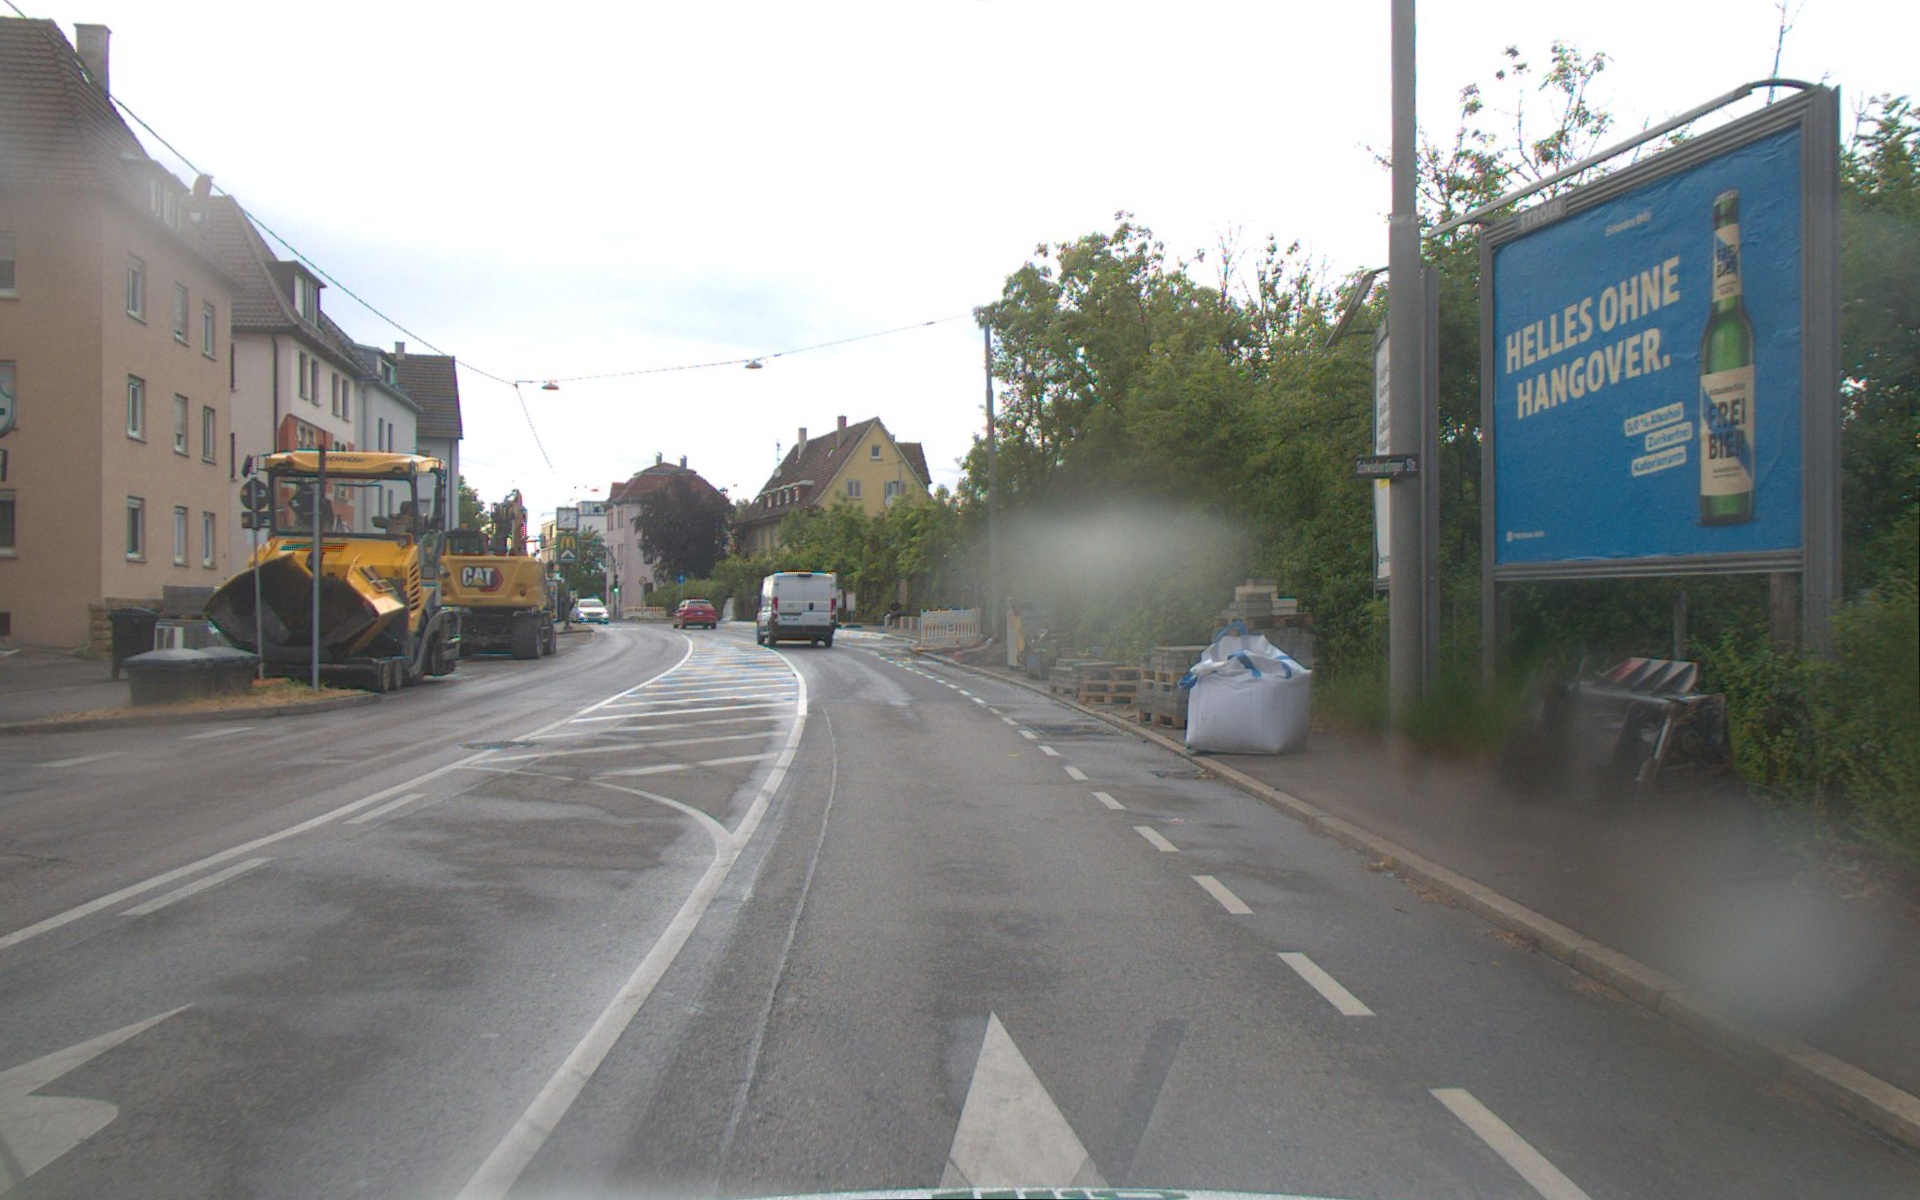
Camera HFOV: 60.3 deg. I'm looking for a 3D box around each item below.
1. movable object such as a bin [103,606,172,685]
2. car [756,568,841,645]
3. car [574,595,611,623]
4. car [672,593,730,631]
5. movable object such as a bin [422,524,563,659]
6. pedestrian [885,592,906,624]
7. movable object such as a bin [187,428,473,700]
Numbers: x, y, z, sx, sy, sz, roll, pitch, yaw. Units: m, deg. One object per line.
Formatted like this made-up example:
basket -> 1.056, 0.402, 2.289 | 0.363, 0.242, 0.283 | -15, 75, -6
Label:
movable object such as a bin -> -13.807, 0.743, 27.742 | 0.883, 1.243, 1.190 | 0, 2, -34
car -> -5.193, 0.158, 52.638 | 2.198, 2.251, 4.700 | 1, 2, -12
car -> -21.938, 0.569, 98.685 | 1.897, 1.583, 4.600 | 1, -1, -16
car -> -13.028, 0.602, 83.098 | 2.202, 1.685, 4.691 | 1, 2, -18
movable object such as a bin -> -11.820, -0.245, 42.136 | 2.817, 3.228, 4.119 | 1, 1, -7
pedestrian -> -2.945, 0.347, 75.282 | 0.862, 1.391, 1.064 | 1, 2, -6
movable object such as a bin -> -10.081, -0.617, 27.162 | 2.720, 3.922, 5.984 | 1, 2, -4
